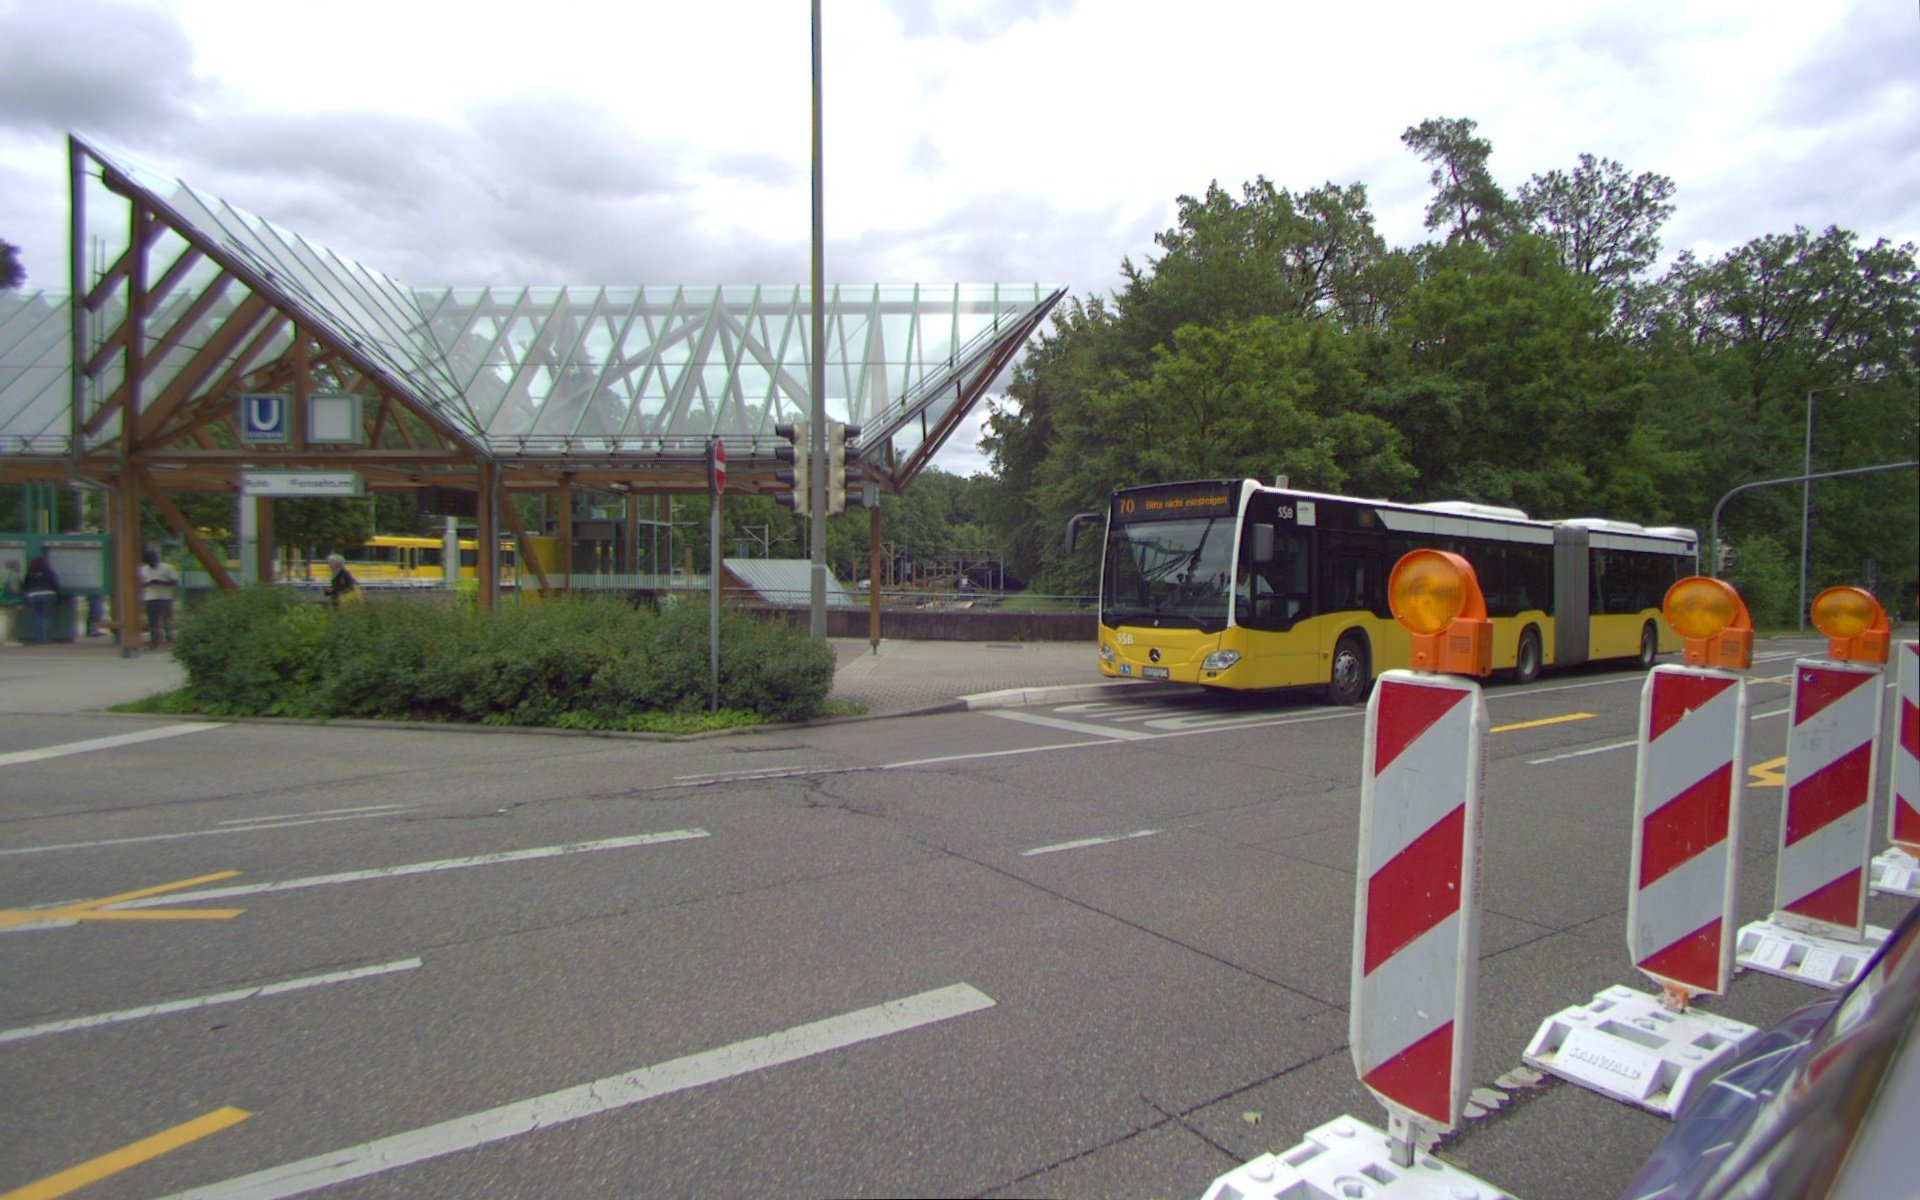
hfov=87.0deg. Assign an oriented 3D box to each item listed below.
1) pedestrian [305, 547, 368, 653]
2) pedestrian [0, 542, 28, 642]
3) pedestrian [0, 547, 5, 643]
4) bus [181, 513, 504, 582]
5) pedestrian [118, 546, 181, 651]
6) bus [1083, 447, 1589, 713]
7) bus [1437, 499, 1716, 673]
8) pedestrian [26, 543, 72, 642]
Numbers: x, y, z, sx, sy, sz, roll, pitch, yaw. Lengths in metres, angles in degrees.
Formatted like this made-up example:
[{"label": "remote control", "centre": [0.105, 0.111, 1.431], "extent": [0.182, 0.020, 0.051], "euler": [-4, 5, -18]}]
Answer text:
[{"label": "pedestrian", "centre": [-10.777, -0.006, 17.500], "extent": [0.659, 1.779, 0.653], "euler": [-1, 0, 16]}, {"label": "pedestrian", "centre": [-17.382, -0.147, 18.412], "extent": [0.590, 1.779, 0.667], "euler": [-1, 0, -43]}, {"label": "pedestrian", "centre": [-18.097, -0.082, 18.616], "extent": [0.558, 1.779, 0.660], "euler": [-1, 0, 33]}, {"label": "bus", "centre": [-36.298, -2.890, 61.594], "extent": [3.929, 3.527, 18.458], "euler": [-1, 1, 20]}, {"label": "pedestrian", "centre": [-14.028, -0.030, 17.541], "extent": [0.642, 1.779, 0.670], "euler": [-1, 0, -19]}, {"label": "bus", "centre": [6.654, -0.295, 16.511], "extent": [10.327, 3.198, 2.810], "euler": [0, 1, -38]}, {"label": "bus", "centre": [13.666, -0.300, 22.138], "extent": [7.617, 3.198, 2.809], "euler": [0, 1, -39]}, {"label": "pedestrian", "centre": [-16.747, -0.137, 18.606], "extent": [0.590, 1.779, 0.667], "euler": [-1, 0, -43]}]
